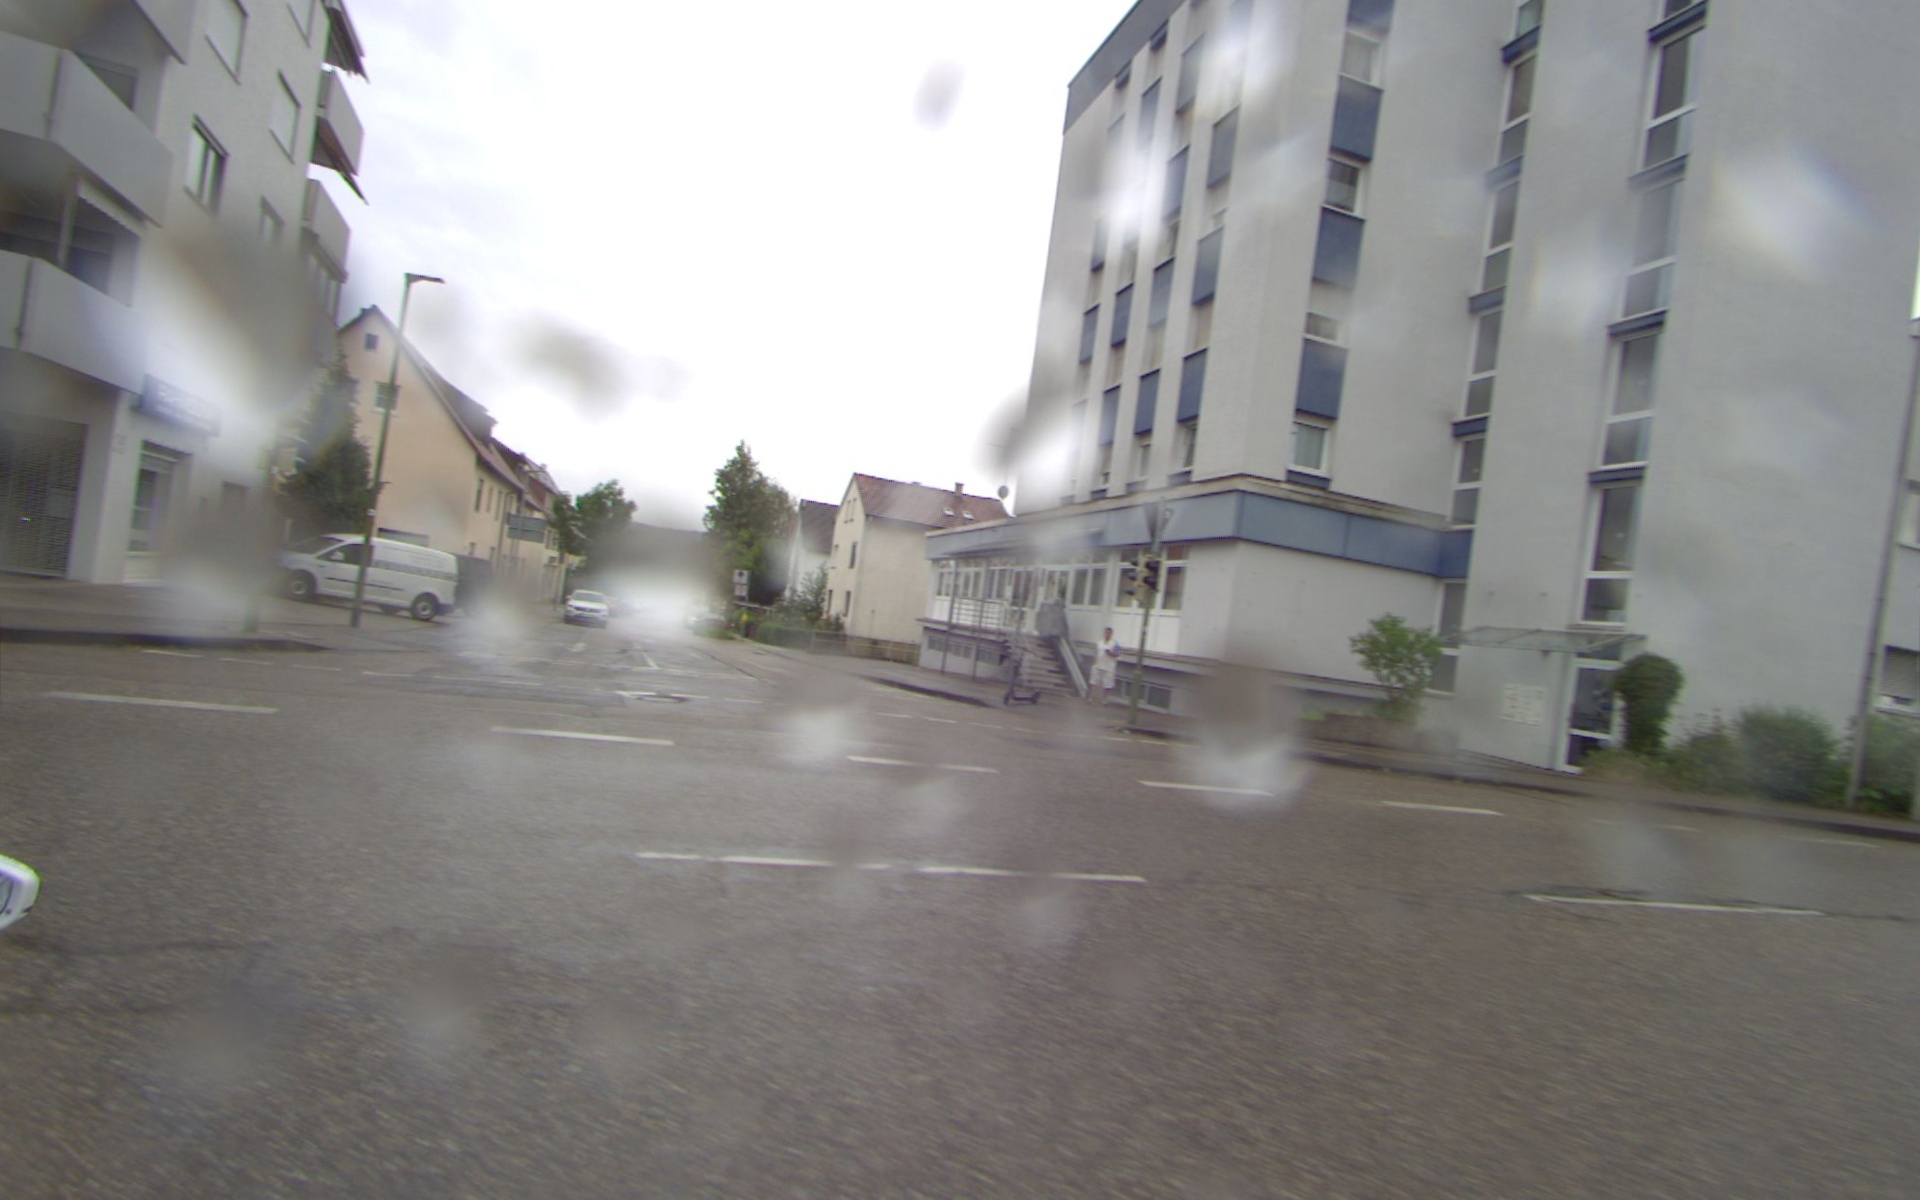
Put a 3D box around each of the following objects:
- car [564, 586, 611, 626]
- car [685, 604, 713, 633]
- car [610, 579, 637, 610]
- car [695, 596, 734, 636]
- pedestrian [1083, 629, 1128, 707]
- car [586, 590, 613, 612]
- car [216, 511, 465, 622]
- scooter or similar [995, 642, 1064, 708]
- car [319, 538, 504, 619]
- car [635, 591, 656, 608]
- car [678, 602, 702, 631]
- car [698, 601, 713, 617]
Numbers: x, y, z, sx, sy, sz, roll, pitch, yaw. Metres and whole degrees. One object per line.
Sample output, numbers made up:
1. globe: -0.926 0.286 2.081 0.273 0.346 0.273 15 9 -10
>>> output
1. car: -16.791 0.272 45.346 1.748 1.541 3.984 7 -2 -21
2. car: -21.124 1.508 81.514 1.968 2.037 3.992 6 -2 -14
3. car: -34.155 -0.568 102.038 2.192 2.801 5.704 6 -2 -19
4. car: -14.753 0.992 60.466 1.968 2.035 3.995 7 -4 -14
5. pedestrian: 3.268 1.514 22.628 0.647 1.669 0.644 7 -3 -19
6. car: -28.533 0.056 79.629 1.749 1.536 3.982 7 -2 -22
7. car: -14.922 -0.742 24.552 1.744 1.796 4.729 5 -6 32
8. scooter or similar: 1.435 1.550 20.824 1.050 1.241 0.797 8 -4 -29
9. car: -17.007 -0.627 31.456 1.931 1.911 4.615 5 -2 32
10. car: -39.933 -0.069 127.796 1.968 1.724 3.997 7 -4 -12
11. car: -29.116 1.778 108.672 2.165 2.837 6.986 6 -2 -14
12. car: -37.114 1.312 146.638 1.968 2.037 3.992 6 -2 -14
